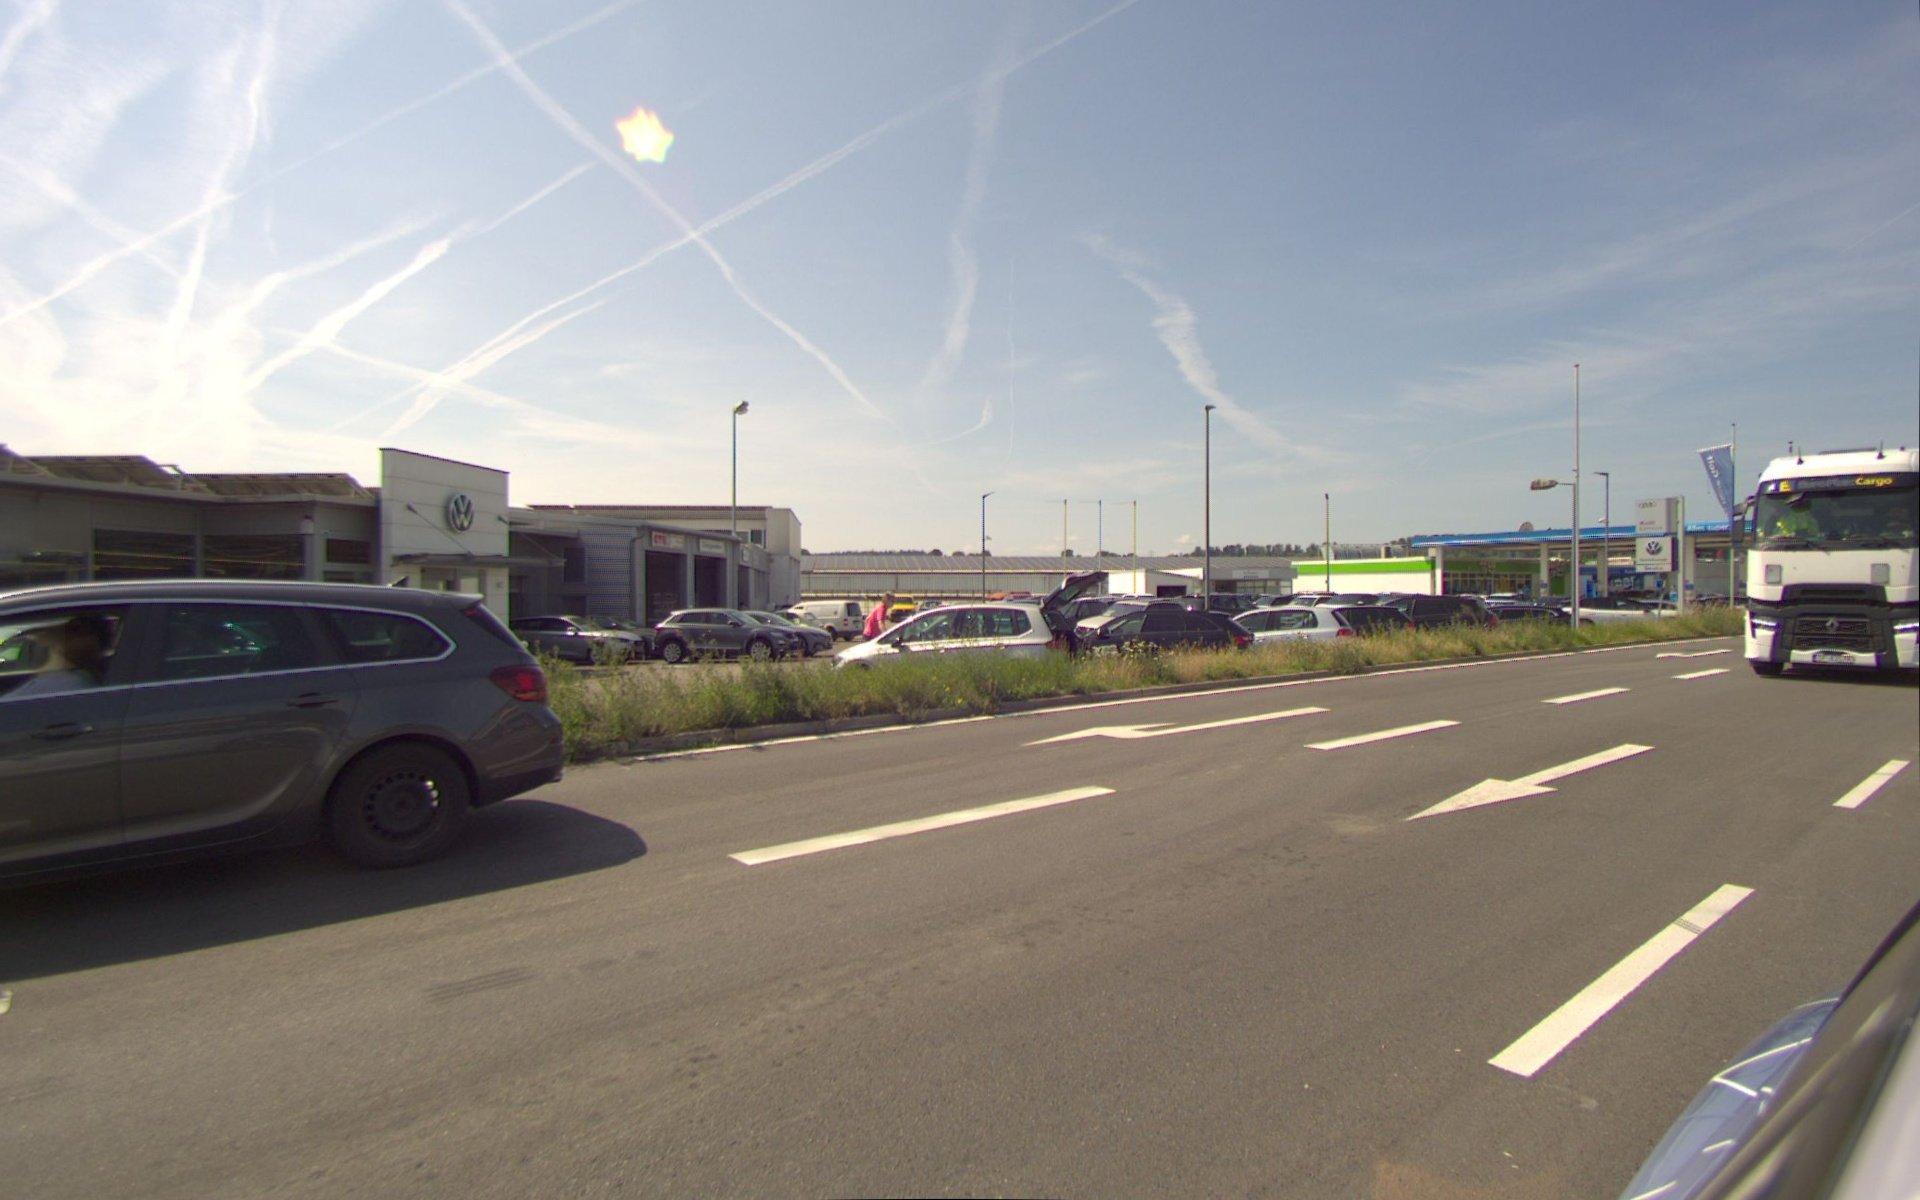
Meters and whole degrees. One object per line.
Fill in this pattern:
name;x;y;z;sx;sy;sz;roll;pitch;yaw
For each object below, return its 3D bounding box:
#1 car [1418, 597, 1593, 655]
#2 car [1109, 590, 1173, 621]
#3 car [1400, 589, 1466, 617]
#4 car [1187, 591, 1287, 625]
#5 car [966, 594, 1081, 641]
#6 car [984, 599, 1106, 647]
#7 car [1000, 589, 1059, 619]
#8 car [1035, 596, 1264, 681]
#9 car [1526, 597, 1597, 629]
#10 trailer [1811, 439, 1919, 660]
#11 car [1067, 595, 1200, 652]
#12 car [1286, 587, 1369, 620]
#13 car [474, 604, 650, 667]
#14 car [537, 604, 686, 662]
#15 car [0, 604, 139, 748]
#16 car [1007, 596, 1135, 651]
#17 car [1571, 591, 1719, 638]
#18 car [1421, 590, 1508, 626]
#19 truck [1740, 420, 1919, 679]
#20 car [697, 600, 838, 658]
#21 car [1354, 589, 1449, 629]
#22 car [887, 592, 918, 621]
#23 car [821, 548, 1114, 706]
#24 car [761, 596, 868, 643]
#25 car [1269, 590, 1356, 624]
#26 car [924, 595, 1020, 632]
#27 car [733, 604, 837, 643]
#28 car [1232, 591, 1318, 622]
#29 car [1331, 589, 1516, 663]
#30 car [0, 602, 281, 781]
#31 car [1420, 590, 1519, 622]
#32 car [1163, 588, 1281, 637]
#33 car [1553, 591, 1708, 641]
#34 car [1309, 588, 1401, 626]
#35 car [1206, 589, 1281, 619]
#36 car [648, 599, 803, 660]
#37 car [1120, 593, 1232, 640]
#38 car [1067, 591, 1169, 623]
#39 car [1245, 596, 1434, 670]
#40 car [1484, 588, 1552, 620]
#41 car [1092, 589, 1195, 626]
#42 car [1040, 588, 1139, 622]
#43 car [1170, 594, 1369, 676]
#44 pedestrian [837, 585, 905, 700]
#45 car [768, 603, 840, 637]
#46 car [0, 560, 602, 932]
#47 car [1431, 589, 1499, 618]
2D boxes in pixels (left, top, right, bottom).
car;16.700;0.749;31.218;4.479;1.600;1.765;1;1;19
car;11.141;0.310;62.489;2.025;1.750;4.548;0;1;-17
car;28.403;0.149;60.785;4.242;1.600;1.723;0;1;-35
car;12.958;0.345;47.559;1.910;1.477;4.544;0;1;-29
car;2.596;0.664;40.751;4.452;1.751;1.823;0;1;-35
car;3.222;0.806;37.962;4.452;1.675;1.776;0;1;-36
car;4.061;0.268;60.024;2.025;1.675;4.546;0;-1;-17
car;3.766;0.695;19.980;4.285;1.470;1.766;1;1;18
car;32.378;0.668;54.438;4.069;1.600;1.776;0;1;-35
trailer;22.650;-1.006;23.341;11.089;4.280;2.613;0;1;-39
car;5.671;0.685;32.729;4.633;1.675;1.904;0;1;-45
car;19.680;0.166;54.154;4.448;1.675;1.777;0;1;-32
car;-11.549;1.005;29.535;4.468;1.675;1.775;1;1;4
car;-10.896;1.021;31.812;4.096;1.675;1.775;1;1;4
car;-13.574;0.934;13.637;3.939;1.691;1.914;1;1;13
car;3.840;0.742;34.567;4.464;1.675;1.965;0;1;-44
car;26.511;0.524;39.364;4.490;1.675;1.761;1;1;25
car;23.780;0.359;47.684;4.452;1.600;1.776;0;1;-35
truck;16.616;-0.818;18.380;5.934;4.036;2.646;0;1;-40
car;-5.997;0.865;31.738;4.009;1.675;1.772;1;1;9
car;19.342;0.357;44.247;4.452;1.675;1.776;0;1;-35
car;-4.226;0.445;73.468;2.167;1.955;4.164;0;1;-4
car;0.126;0.337;15.937;4.295;2.240;1.752;1;1;21
car;-6.541;0.828;45.446;4.484;1.973;1.763;1;1;22
car;17.040;0.309;48.810;4.452;1.545;1.691;0;1;-35
car;0.610;0.635;48.782;4.453;1.675;1.776;0;1;-36
car;-7.408;0.960;42.814;4.028;1.510;1.764;1;1;22
car;15.861;0.301;50.844;4.452;1.459;1.776;0;1;-35
car;11.395;0.604;25.167;3.946;1.675;1.766;1;1;17
car;-9.777;0.904;10.670;1.756;1.675;4.044;-1;0;24
car;27.372;0.287;54.508;1.742;1.600;4.540;0;1;-33
car;9.552;0.405;36.750;4.454;1.675;1.775;0;1;-38
car;24.608;0.545;37.334;4.488;1.675;1.762;1;1;24
car;18.193;0.300;46.581;4.452;1.675;1.776;0;1;-35
car;14.981;0.194;53.461;4.051;1.551;1.609;0;1;-35
car;-6.686;0.830;29.099;4.008;1.629;1.690;1;-1;8
car;8.295;0.569;38.677;4.352;1.675;1.775;0;1;-38
car;7.398;0.324;47.460;4.390;1.449;1.827;0;1;-19
car;8.767;0.724;23.729;3.941;1.572;1.768;1;1;14
car;31.159;0.194;56.484;4.179;1.734;1.714;0;1;-35
car;8.081;0.332;44.611;4.118;1.560;1.827;0;1;-19
car;6.375;0.229;49.787;4.442;1.603;1.827;0;1;-19
car;6.656;0.688;21.803;3.953;1.578;1.700;1;1;22
pedestrian;-1.550;0.712;17.670;0.975;1.935;0.740;1;1;16
car;-8.675;1.073;56.119;3.900;1.751;1.953;2;1;43
car;-4.369;0.582;5.175;4.373;1.538;1.996;0;1;-42
car;29.170;0.203;58.432;4.158;1.600;1.776;0;1;-35
